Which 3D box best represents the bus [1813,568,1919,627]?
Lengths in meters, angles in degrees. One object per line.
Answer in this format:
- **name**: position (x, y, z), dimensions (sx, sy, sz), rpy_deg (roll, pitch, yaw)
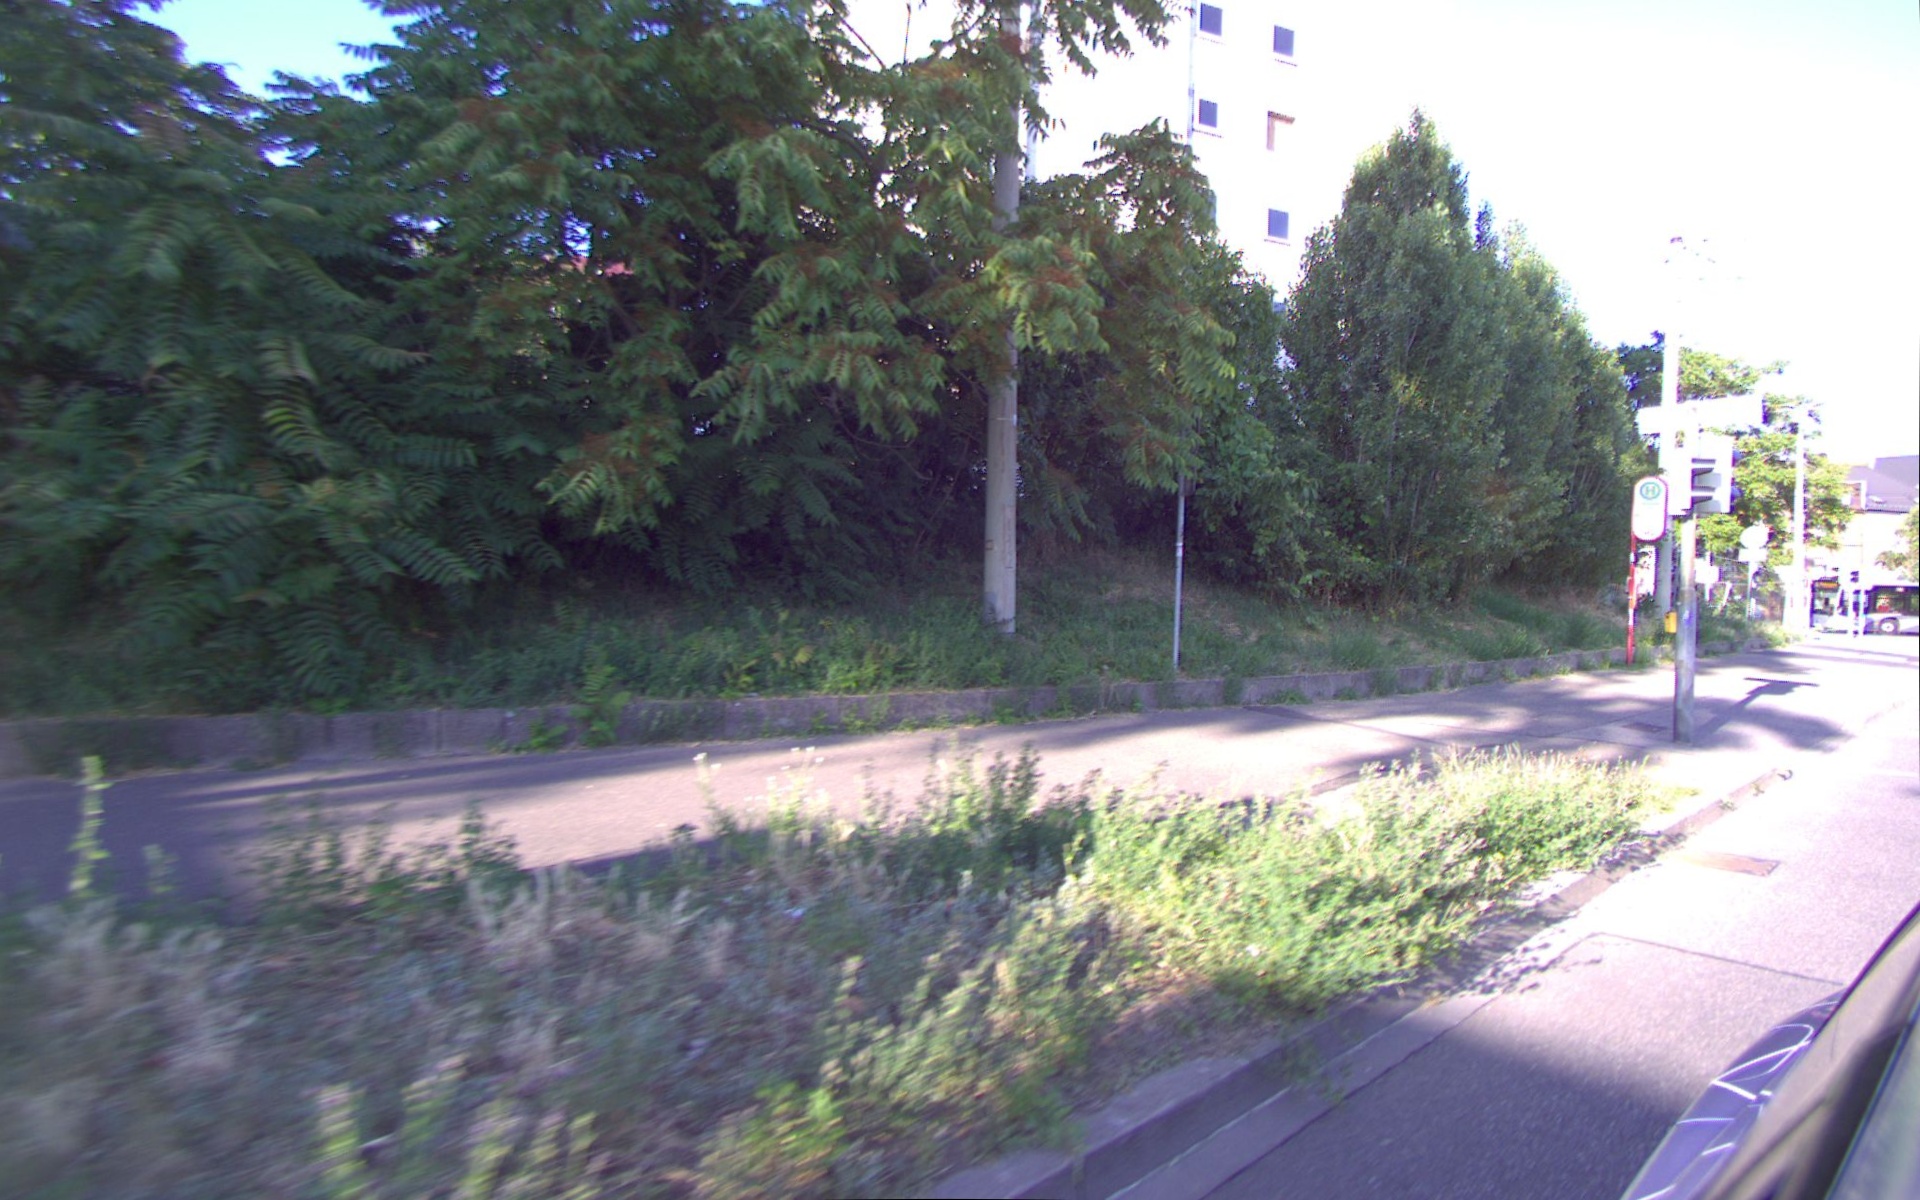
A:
- **bus**: position (52.361, -0.079, 54.731), dimensions (9.423, 3.063, 2.606), rpy_deg (1, 0, 10)
